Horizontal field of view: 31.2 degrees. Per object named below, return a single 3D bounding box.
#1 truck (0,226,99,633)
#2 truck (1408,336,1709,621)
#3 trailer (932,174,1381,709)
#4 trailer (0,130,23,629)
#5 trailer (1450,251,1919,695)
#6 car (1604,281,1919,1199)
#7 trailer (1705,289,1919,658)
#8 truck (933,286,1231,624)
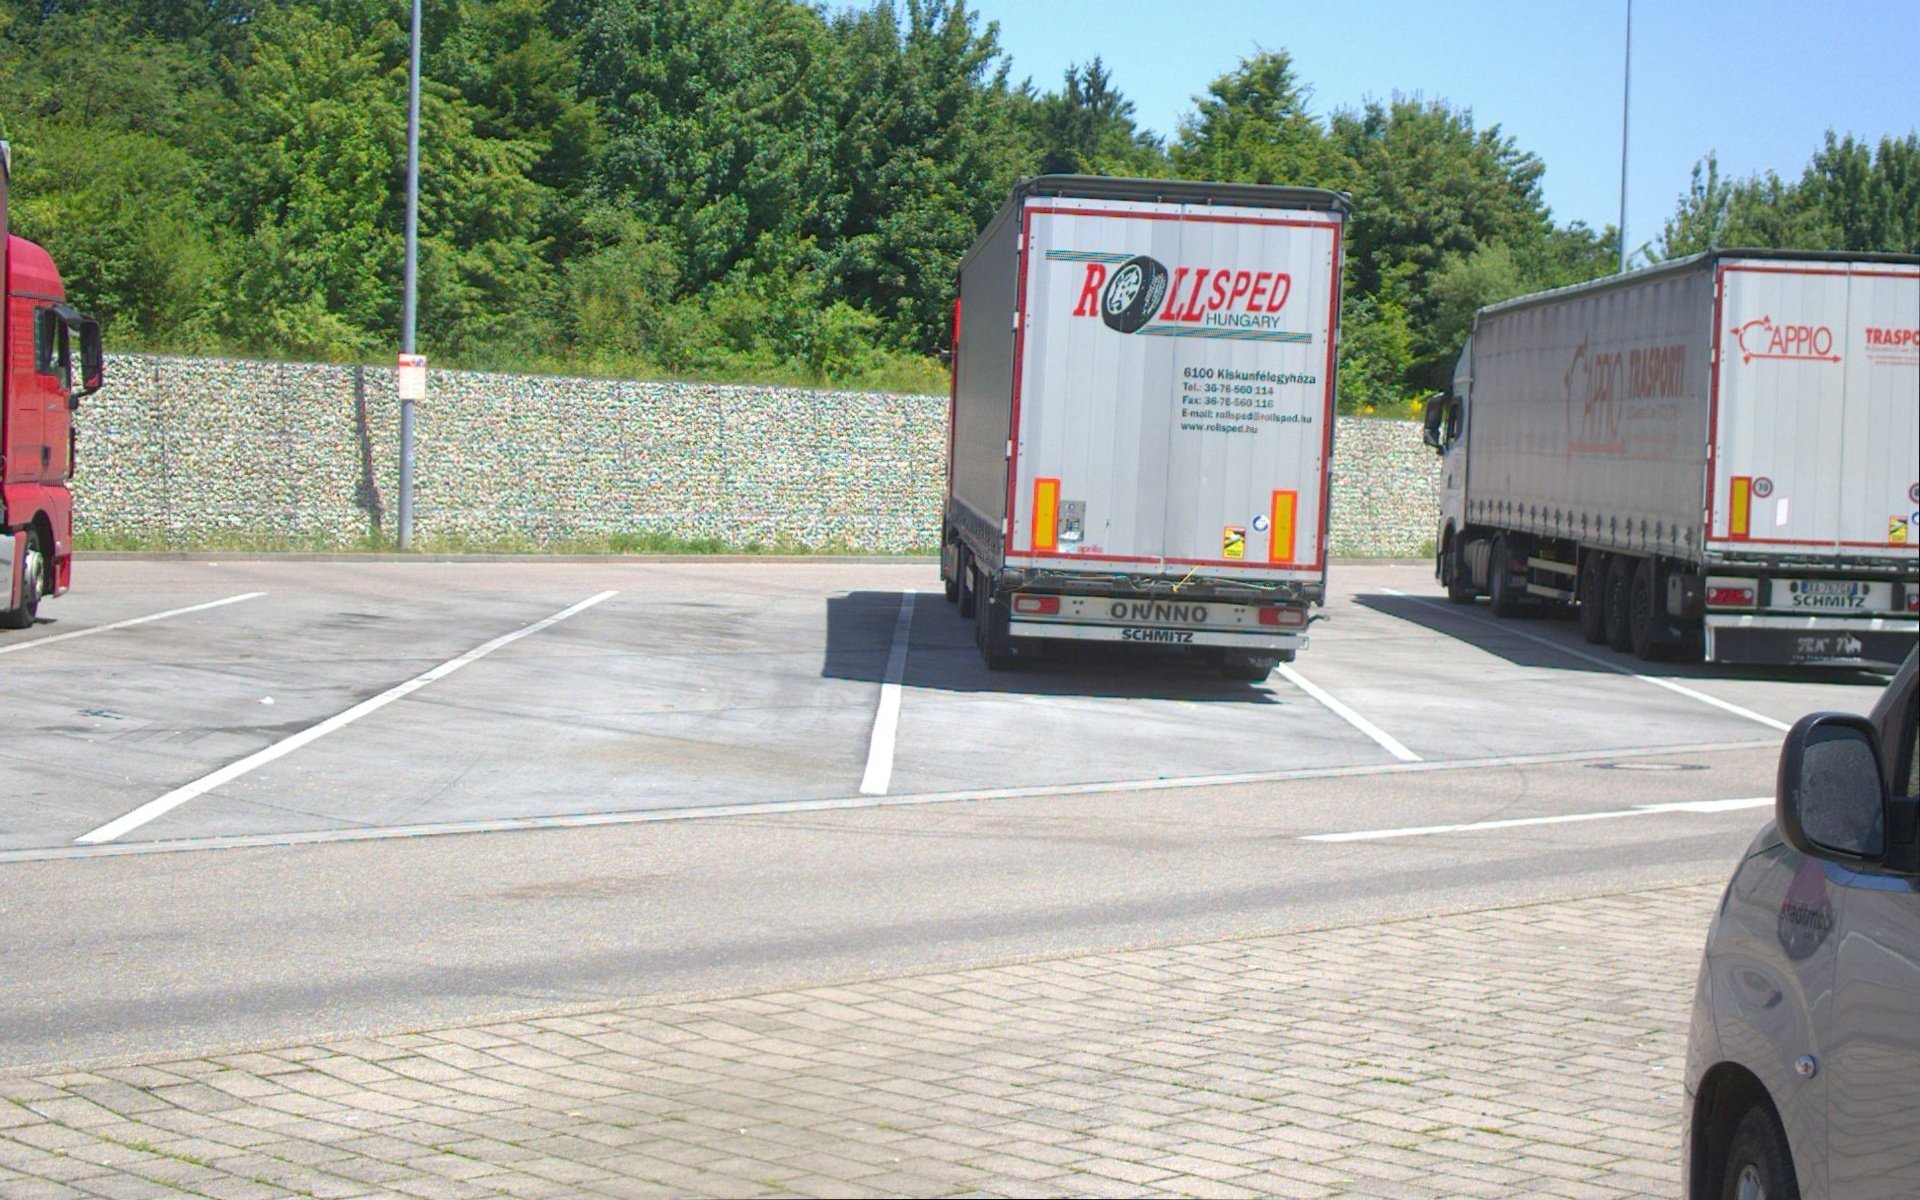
[{"bbox_3d":[-9.241,-1.445,28.145,2.851,3.316,5.900,2,3,-1],"label":"truck"},{"bbox_3d":[8.020,-1.708,46.832,2.862,3.509,5.900,2,3,-1],"label":"truck"},{"bbox_3d":[1.445,-1.598,33.620,3.133,3.976,14.397,2,3,-1],"label":"trailer"},{"bbox_3d":[-9.198,-1.489,21.571,2.791,4.071,14.133,2,3,-1],"label":"trailer"},{"bbox_3d":[8.112,-1.531,38.731,2.811,3.976,14.396,2,3,-1],"label":"trailer"},{"bbox_3d":[2.144,0.583,3.851,1.869,1.857,4.177,2,2,-2],"label":"car"},{"bbox_3d":[11.753,-1.464,39.783,2.811,3.976,14.396,2,3,-1],"label":"trailer"},{"bbox_3d":[1.309,-1.741,40.512,3.103,3.554,5.900,2,3,-1],"label":"truck"}]
